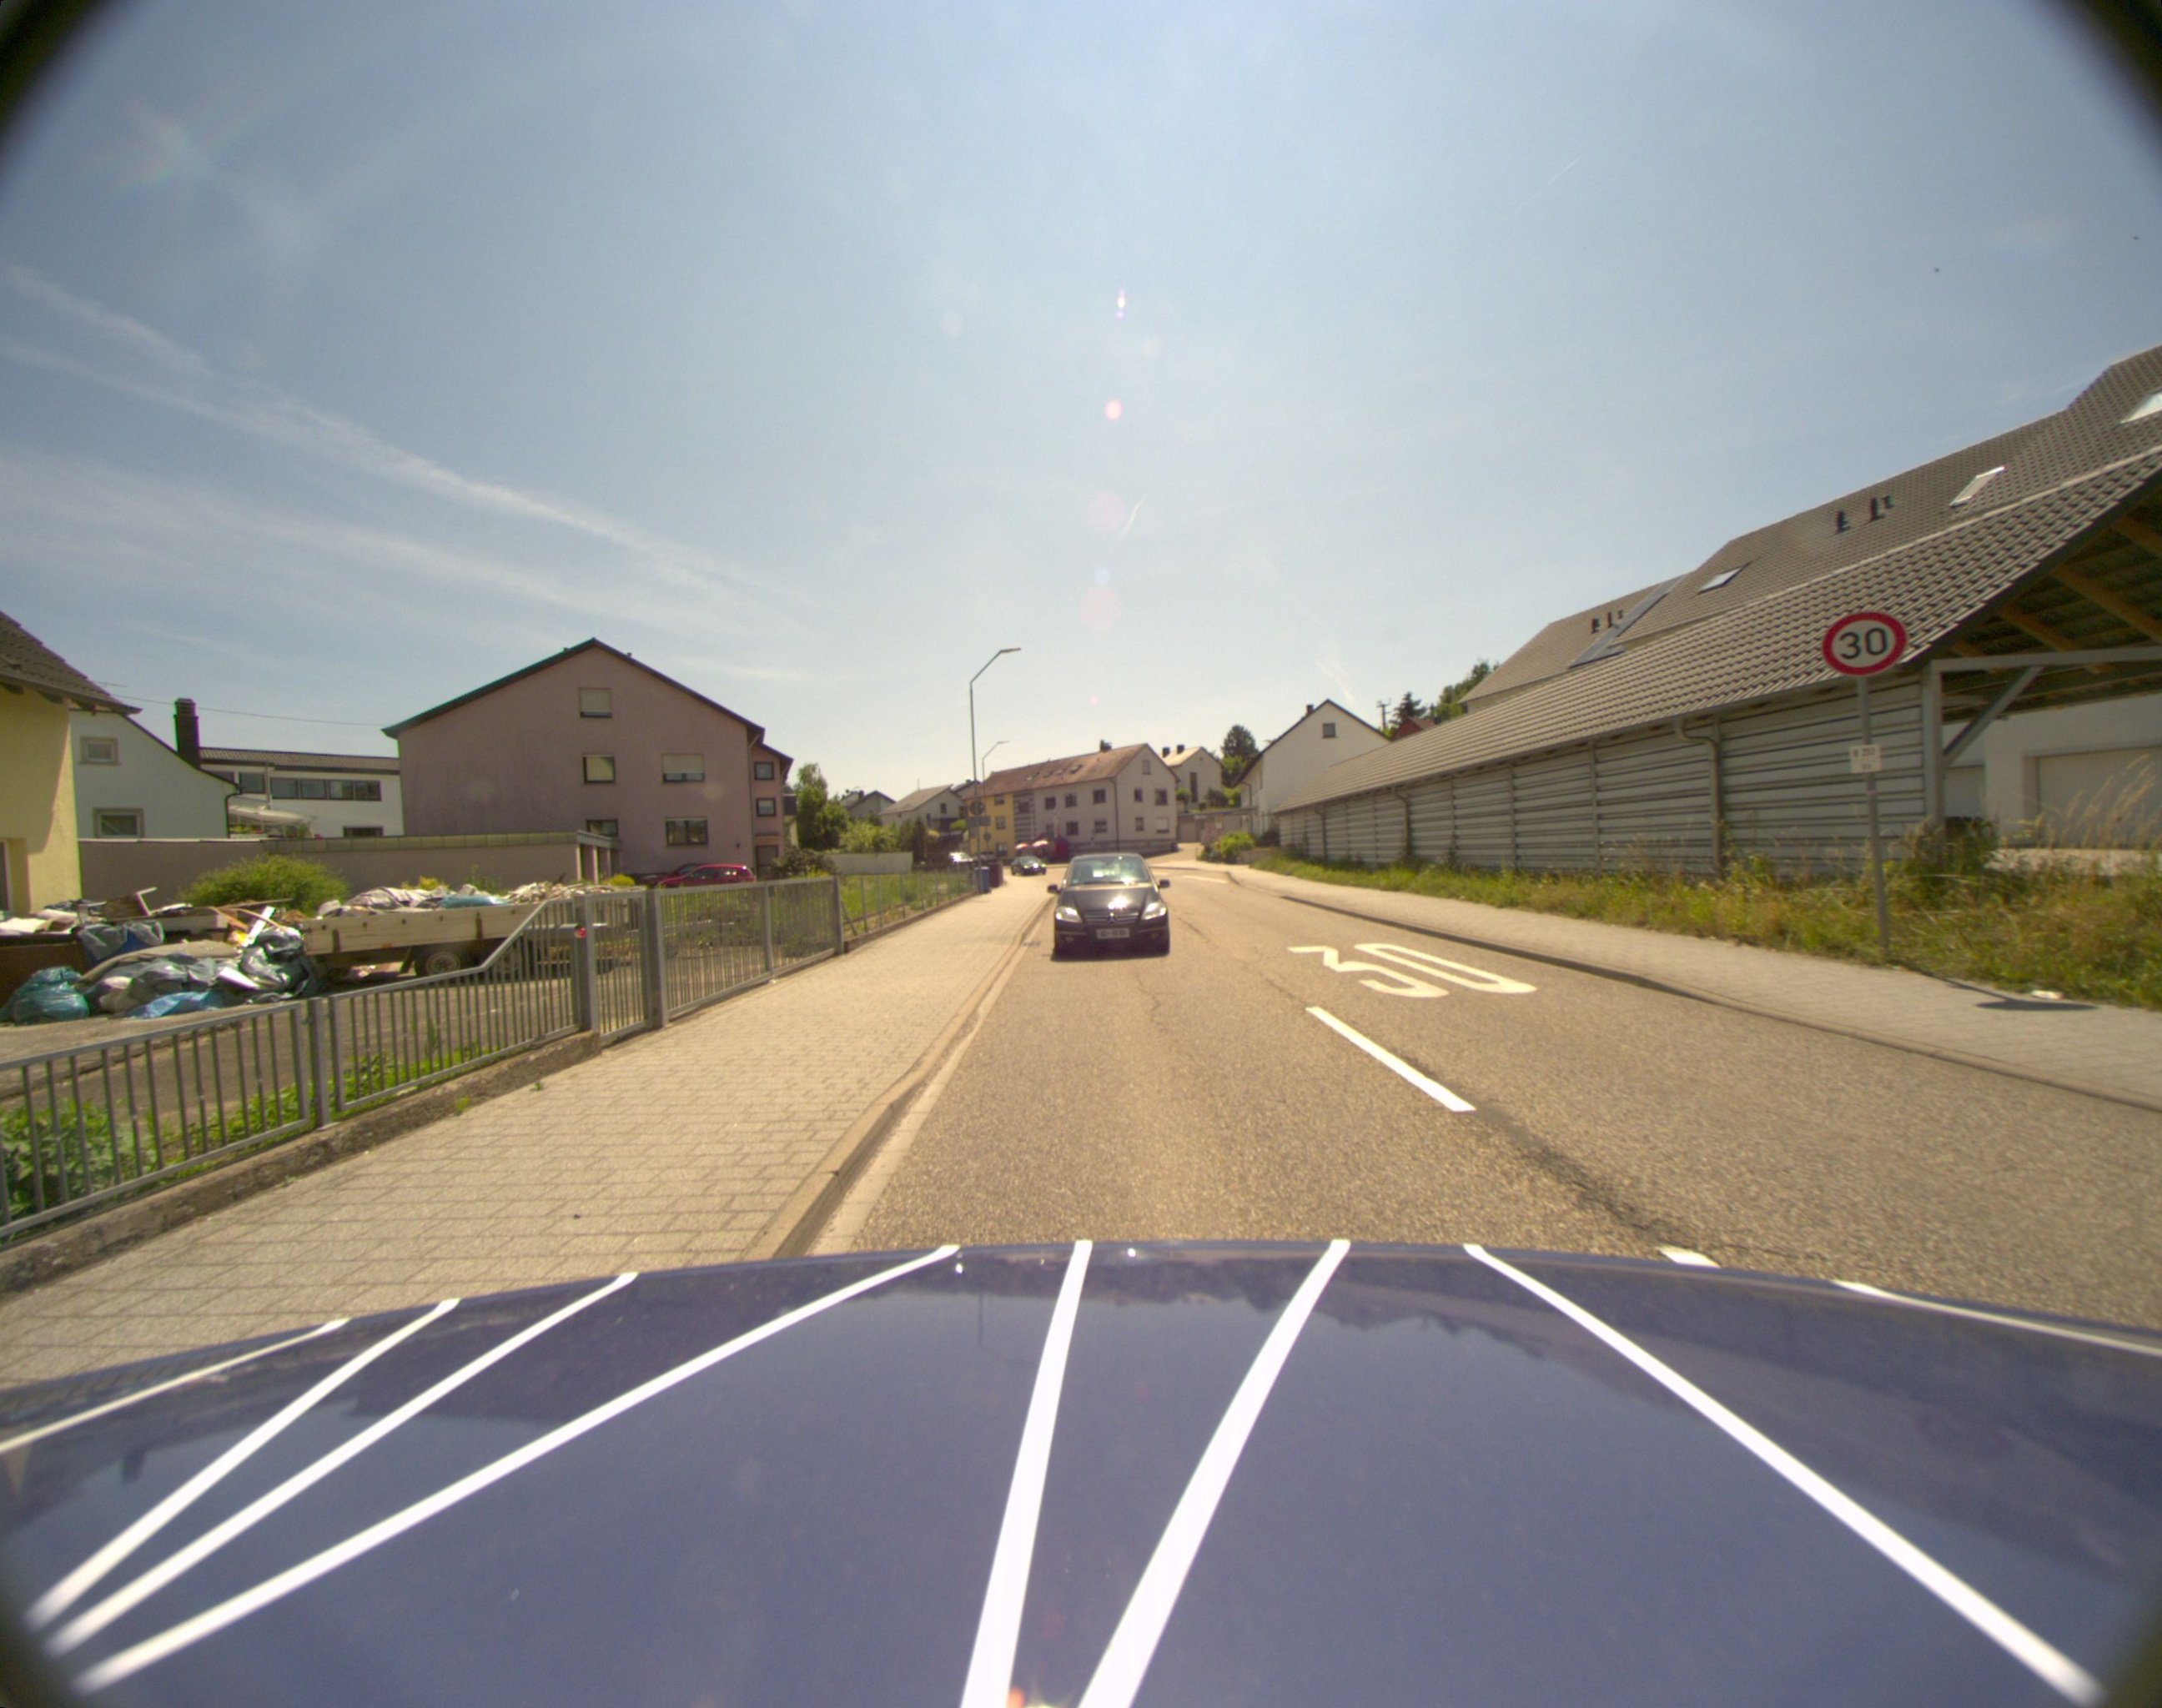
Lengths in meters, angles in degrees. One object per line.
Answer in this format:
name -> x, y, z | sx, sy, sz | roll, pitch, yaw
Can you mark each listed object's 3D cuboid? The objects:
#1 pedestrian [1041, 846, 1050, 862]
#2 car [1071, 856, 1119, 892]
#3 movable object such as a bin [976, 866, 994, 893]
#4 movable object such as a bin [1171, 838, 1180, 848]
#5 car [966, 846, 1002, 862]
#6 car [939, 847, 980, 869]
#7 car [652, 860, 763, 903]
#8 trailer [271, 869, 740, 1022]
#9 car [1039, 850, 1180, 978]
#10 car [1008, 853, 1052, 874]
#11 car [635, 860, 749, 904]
pedestrian -> -3.541, 0.028, 75.778 | 0.613, 1.578, 0.808 | -5, 1, -10
car -> 0.564, 0.818, 33.278 | 1.814, 1.307, 3.998 | -4, 1, -2
movable object such as a bin -> -3.841, 1.007, 30.381 | 0.567, 1.051, 0.650 | -3, 1, -15
movable object such as a bin -> 9.120, -1.098, 73.380 | 0.599, 0.929, 0.601 | -2, 2, 45
car -> -10.698, 0.030, 83.748 | 1.739, 1.543, 4.177 | -5, 2, -43
car -> -11.498, 0.422, 71.614 | 1.871, 1.897, 5.025 | -4, 1, -32
car -> -14.895, 1.057, 30.499 | 3.841, 1.477, 1.758 | -2, 1, -23
trailer -> -8.419, 1.219, 11.923 | 5.370, 1.537, 2.134 | -4, 1, -28
car -> 0.475, 0.800, 12.336 | 1.764, 1.583, 4.198 | -5, 0, 2
car -> -3.827, 0.729, 56.108 | 1.900, 1.368, 3.992 | -4, 1, -24
car -> -16.559, 1.146, 32.510 | 4.130, 1.539, 1.847 | -4, 1, -26
